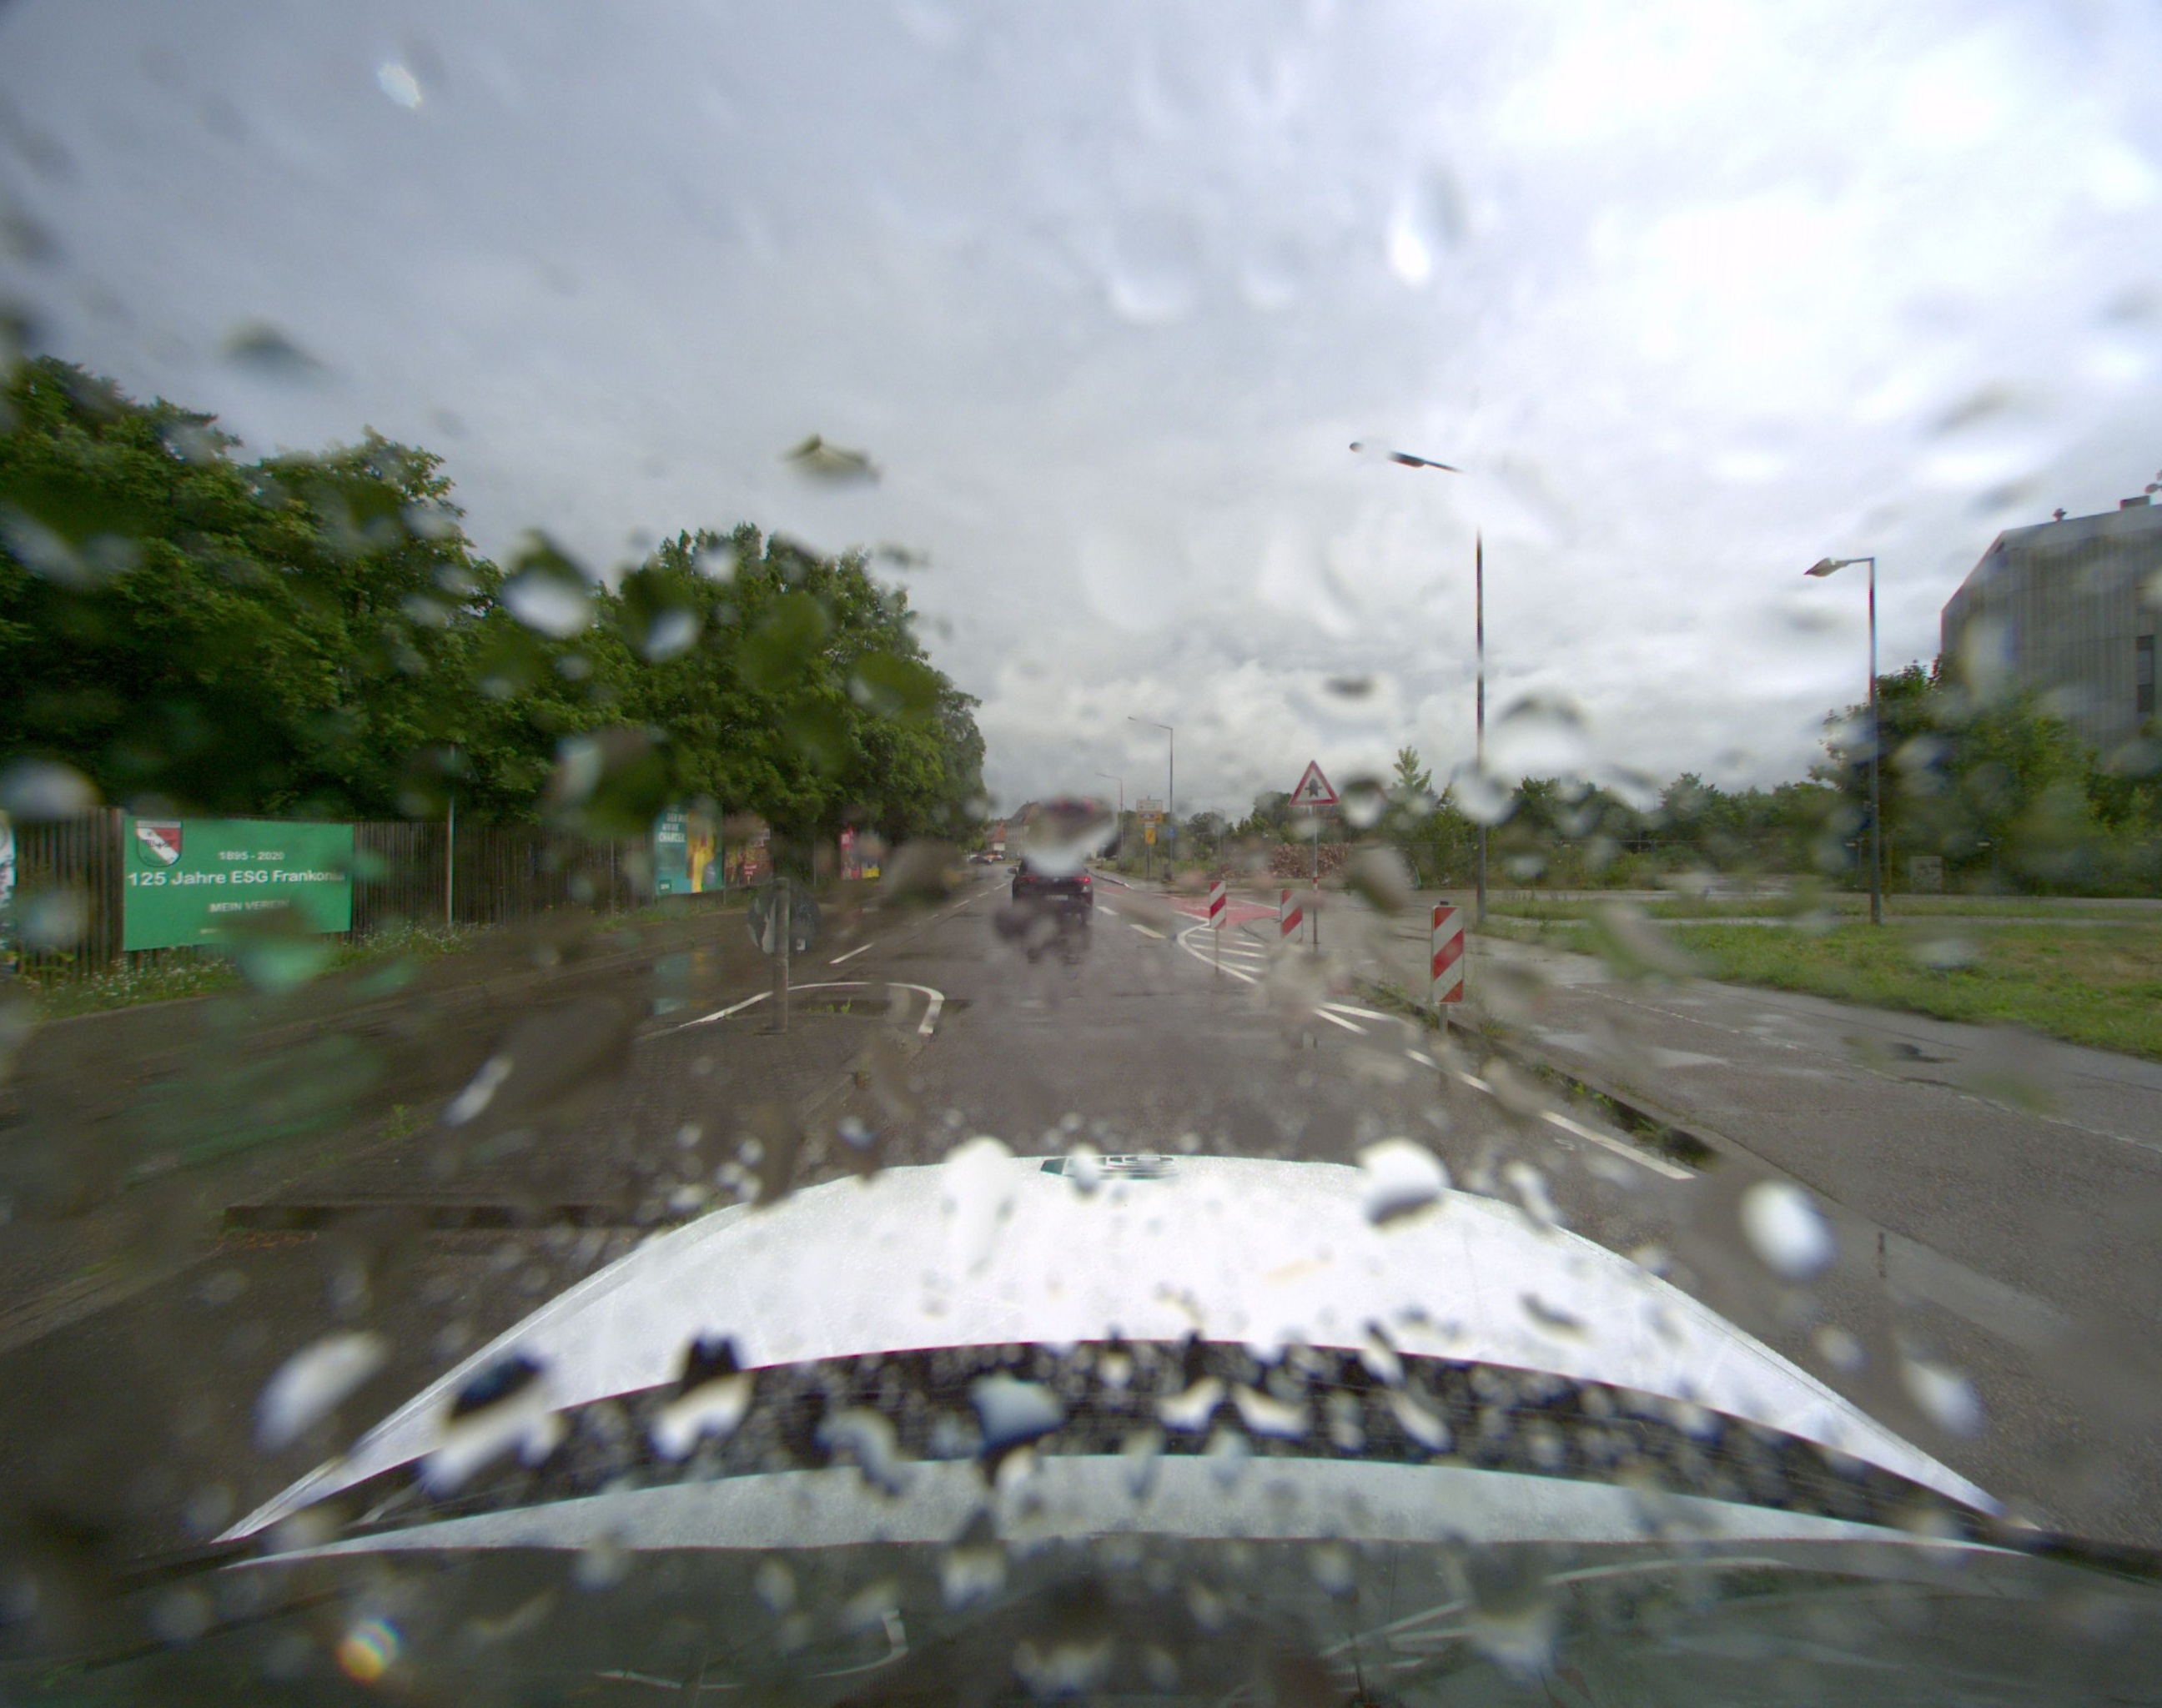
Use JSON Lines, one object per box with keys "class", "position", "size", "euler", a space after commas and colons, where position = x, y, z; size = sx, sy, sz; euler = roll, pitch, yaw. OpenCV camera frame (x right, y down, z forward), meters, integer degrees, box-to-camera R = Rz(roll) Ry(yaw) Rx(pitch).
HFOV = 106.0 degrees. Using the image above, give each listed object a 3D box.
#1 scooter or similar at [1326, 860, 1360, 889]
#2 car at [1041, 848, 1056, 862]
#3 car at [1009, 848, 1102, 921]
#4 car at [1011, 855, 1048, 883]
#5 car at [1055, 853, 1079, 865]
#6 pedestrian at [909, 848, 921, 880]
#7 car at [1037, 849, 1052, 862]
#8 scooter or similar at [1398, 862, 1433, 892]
{"class": "scooter or similar", "position": [11.590, 0.915, 36.027], "size": [1.268, 1.187, 0.506], "euler": [3, 2, 38]}
{"class": "car", "position": [-3.934, 0.126, 98.631], "size": [1.837, 1.641, 4.011], "euler": [-1, 0, -3]}
{"class": "car", "position": [-0.721, 0.685, 19.668], "size": [1.984, 1.520, 3.992], "euler": [-1, -1, -5]}
{"class": "car", "position": [-2.852, 0.849, 45.952], "size": [1.836, 1.442, 3.997], "euler": [-3, -1, -1]}
{"class": "car", "position": [-2.359, 0.836, 140.435], "size": [3.974, 1.899, 1.826], "euler": [2, 2, 0]}
{"class": "pedestrian", "position": [-9.155, 0.539, 44.899], "size": [0.523, 1.701, 0.566], "euler": [2, 1, -2]}
{"class": "car", "position": [-4.868, 0.248, 108.843], "size": [1.992, 1.702, 4.011], "euler": [-1, 0, -3]}
{"class": "scooter or similar", "position": [14.348, 0.979, 34.929], "size": [1.268, 1.187, 0.506], "euler": [3, 2, 38]}
